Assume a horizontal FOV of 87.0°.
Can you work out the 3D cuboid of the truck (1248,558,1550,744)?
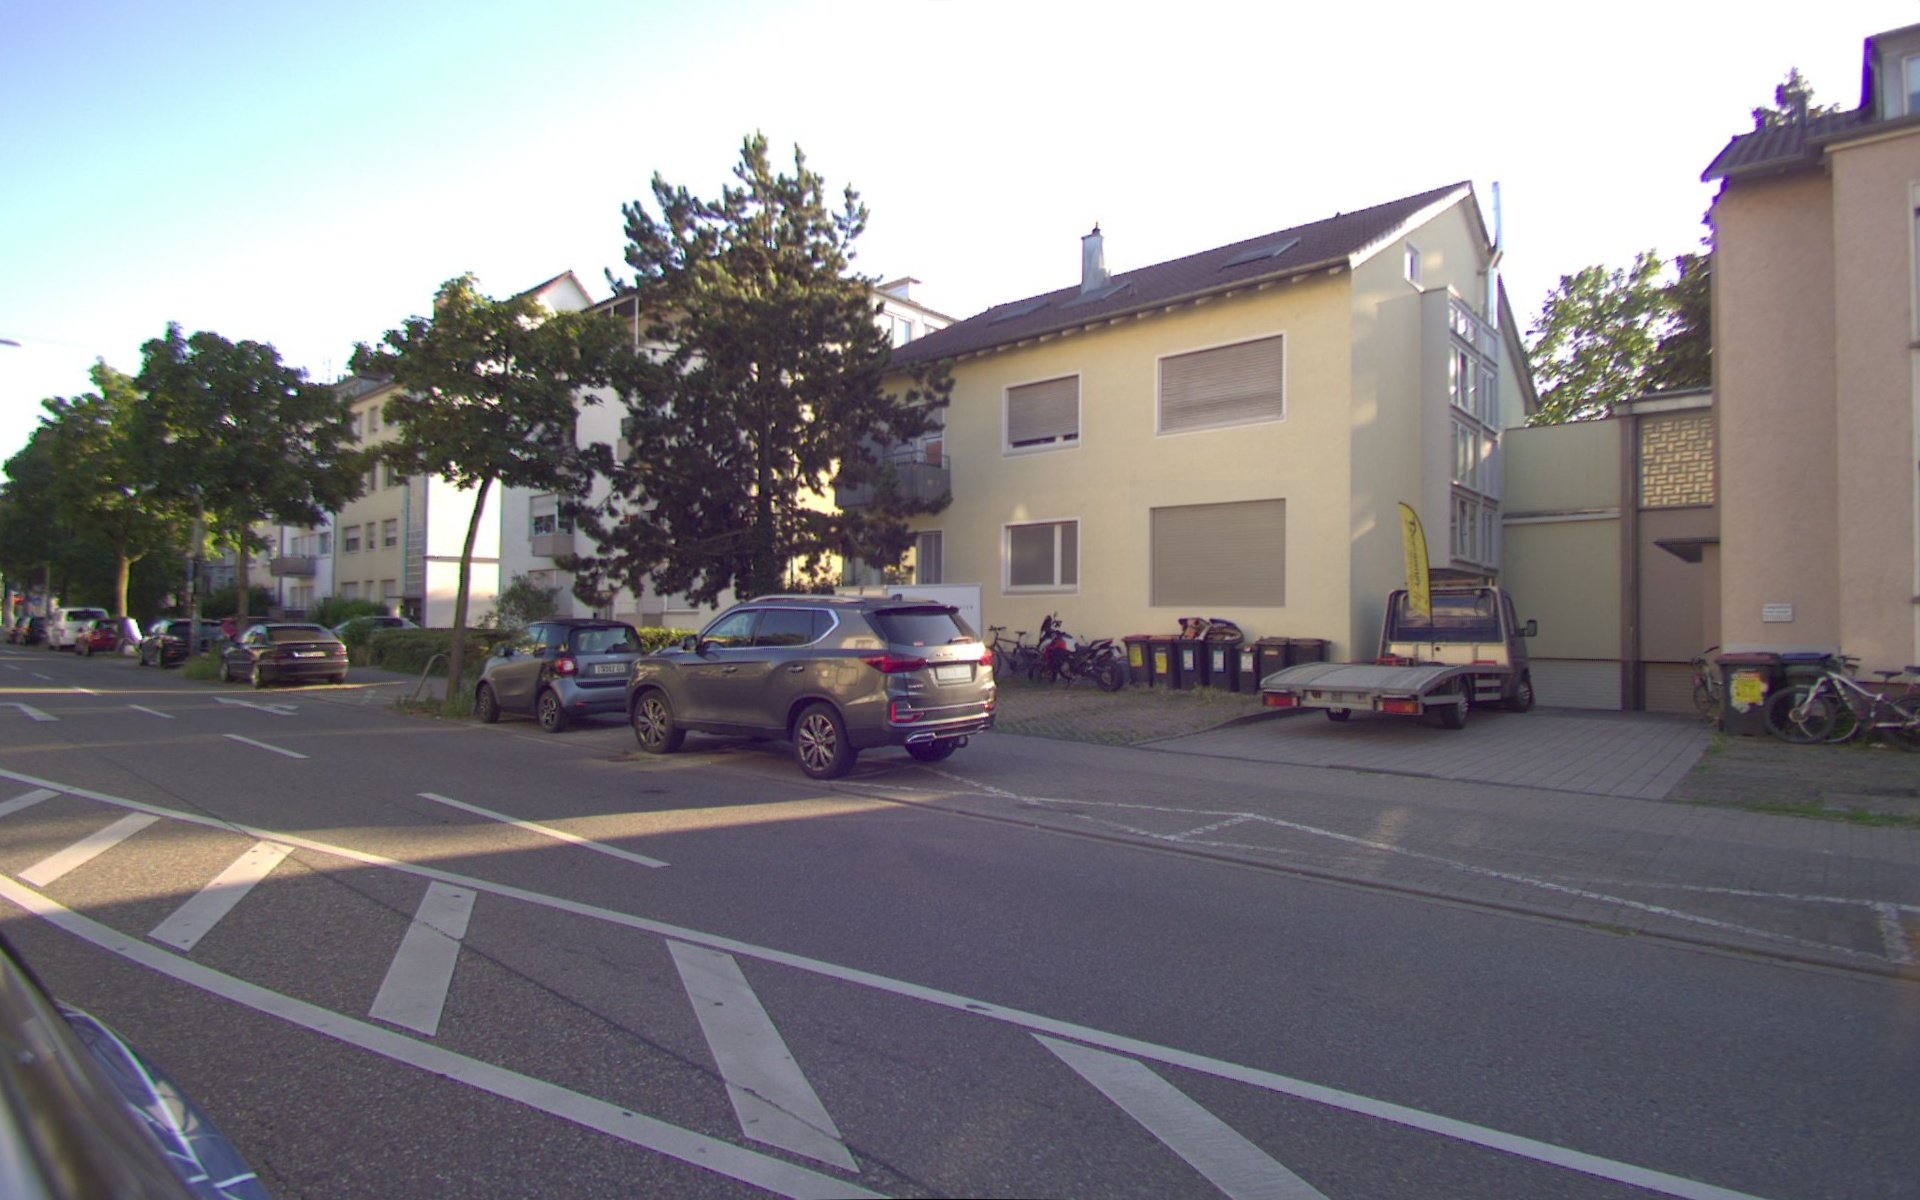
[{"bbox_3d":[6.917,0.711,15.341,2.275,2.202,6.822,-1,-2,41],"label":"truck"}]

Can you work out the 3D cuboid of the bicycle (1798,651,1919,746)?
[{"bbox_3d":[11.188,1.174,12.152,1.710,1.094,0.329,-1,-2,41],"label":"bicycle"}]

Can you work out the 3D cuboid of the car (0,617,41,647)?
[{"bbox_3d":[-49.792,1.677,53.552,3.682,1.475,1.388,0,0,43],"label":"car"}]

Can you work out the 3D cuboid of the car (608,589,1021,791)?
[{"bbox_3d":[-1.770,0.842,11.222,4.723,1.793,1.868,-1,-2,40],"label":"car"}]

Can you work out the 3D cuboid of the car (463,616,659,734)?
[{"bbox_3d":[-5.926,1.036,14.964,2.747,1.567,1.557,-1,-2,40],"label":"car"}]

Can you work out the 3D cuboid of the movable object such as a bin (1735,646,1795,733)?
[{"bbox_3d":[10.575,1.156,13.292,0.586,1.098,0.483,-1,-2,42],"label":"movable object such as a bin"}]

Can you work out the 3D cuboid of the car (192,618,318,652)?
[{"bbox_3d":[-32.845,1.582,47.278,1.735,1.416,4.515,0,0,31],"label":"car"}]

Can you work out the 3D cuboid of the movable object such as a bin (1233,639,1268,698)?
[{"bbox_3d":[5.256,1.227,18.290,0.450,1.026,0.497,-1,-3,40],"label":"movable object such as a bin"}]

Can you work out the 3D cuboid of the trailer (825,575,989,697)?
[{"bbox_3d":[-0.918,0.651,18.410,1.551,2.029,2.745,-1,-2,39],"label":"trailer"}]

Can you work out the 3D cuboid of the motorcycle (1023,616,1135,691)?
[{"bbox_3d":[2.295,1.008,19.760,2.257,1.384,0.564,-1,-2,41],"label":"motorcycle"}]

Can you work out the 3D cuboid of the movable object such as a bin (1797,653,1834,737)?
[{"bbox_3d":[10.985,1.207,12.996,0.349,1.046,0.430,-1,-2,41],"label":"movable object such as a bin"}]

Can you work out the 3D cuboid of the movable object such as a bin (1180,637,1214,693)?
[{"bbox_3d":[4.454,1.220,19.030,0.450,1.026,0.497,-1,-3,40],"label":"movable object such as a bin"}]

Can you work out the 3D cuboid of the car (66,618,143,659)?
[{"bbox_3d":[-32.989,1.456,38.991,3.634,1.475,1.717,-1,-2,41],"label":"car"}]

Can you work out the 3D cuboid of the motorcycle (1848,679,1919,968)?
[{"bbox_3d":[5.432,1.023,4.172,2.350,1.276,1.176,0,-2,18],"label":"motorcycle"}]

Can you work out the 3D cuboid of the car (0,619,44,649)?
[{"bbox_3d":[-46.914,1.668,50.550,3.682,1.416,1.388,0,0,43],"label":"car"}]

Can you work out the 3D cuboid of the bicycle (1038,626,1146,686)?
[{"bbox_3d":[2.648,1.106,20.532,2.257,1.149,0.564,-1,-2,41],"label":"bicycle"}]

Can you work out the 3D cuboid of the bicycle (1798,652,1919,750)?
[{"bbox_3d":[10.963,1.176,11.879,1.710,1.094,0.329,-1,-2,41],"label":"bicycle"}]

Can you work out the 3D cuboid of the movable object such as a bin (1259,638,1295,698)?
[{"bbox_3d":[5.624,1.193,17.926,0.450,1.026,0.497,-1,-3,40],"label":"movable object such as a bin"}]

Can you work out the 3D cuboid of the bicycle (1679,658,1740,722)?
[{"bbox_3d":[11.768,1.417,15.875,0.590,0.938,1.577,-1,-5,43],"label":"bicycle"}]

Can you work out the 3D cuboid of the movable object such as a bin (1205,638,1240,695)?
[{"bbox_3d":[4.841,1.214,18.647,0.450,1.026,0.497,-1,-3,40],"label":"movable object such as a bin"}]

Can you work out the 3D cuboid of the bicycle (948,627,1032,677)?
[{"bbox_3d":[0.664,1.162,22.881,2.045,1.072,0.513,-1,-2,41],"label":"bicycle"}]

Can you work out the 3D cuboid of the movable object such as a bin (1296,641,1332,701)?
[{"bbox_3d":[6.135,1.220,17.528,0.450,1.026,0.497,-1,-3,40],"label":"movable object such as a bin"}]

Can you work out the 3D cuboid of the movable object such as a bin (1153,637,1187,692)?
[{"bbox_3d":[4.035,1.225,19.415,0.450,1.026,0.497,-1,-3,40],"label":"movable object such as a bin"}]

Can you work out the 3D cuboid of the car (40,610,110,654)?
[{"bbox_3d":[-38.203,1.364,43.638,4.190,1.823,1.717,-1,-2,41],"label":"car"}]

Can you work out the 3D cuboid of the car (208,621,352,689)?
[{"bbox_3d":[-15.688,1.204,23.264,4.442,1.418,1.620,-1,-2,41],"label":"car"}]

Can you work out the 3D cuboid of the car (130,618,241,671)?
[{"bbox_3d":[-23.457,1.308,30.596,3.997,1.497,1.838,-1,-3,40],"label":"car"}]

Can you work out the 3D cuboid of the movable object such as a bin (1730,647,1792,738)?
[{"bbox_3d":[10.147,1.155,12.818,0.586,1.098,0.483,-1,-2,42],"label":"movable object such as a bin"}]

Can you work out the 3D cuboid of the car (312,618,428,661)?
[{"bbox_3d":[-22.246,1.465,38.218,1.686,1.535,3.422,-1,-2,42],"label":"car"}]
